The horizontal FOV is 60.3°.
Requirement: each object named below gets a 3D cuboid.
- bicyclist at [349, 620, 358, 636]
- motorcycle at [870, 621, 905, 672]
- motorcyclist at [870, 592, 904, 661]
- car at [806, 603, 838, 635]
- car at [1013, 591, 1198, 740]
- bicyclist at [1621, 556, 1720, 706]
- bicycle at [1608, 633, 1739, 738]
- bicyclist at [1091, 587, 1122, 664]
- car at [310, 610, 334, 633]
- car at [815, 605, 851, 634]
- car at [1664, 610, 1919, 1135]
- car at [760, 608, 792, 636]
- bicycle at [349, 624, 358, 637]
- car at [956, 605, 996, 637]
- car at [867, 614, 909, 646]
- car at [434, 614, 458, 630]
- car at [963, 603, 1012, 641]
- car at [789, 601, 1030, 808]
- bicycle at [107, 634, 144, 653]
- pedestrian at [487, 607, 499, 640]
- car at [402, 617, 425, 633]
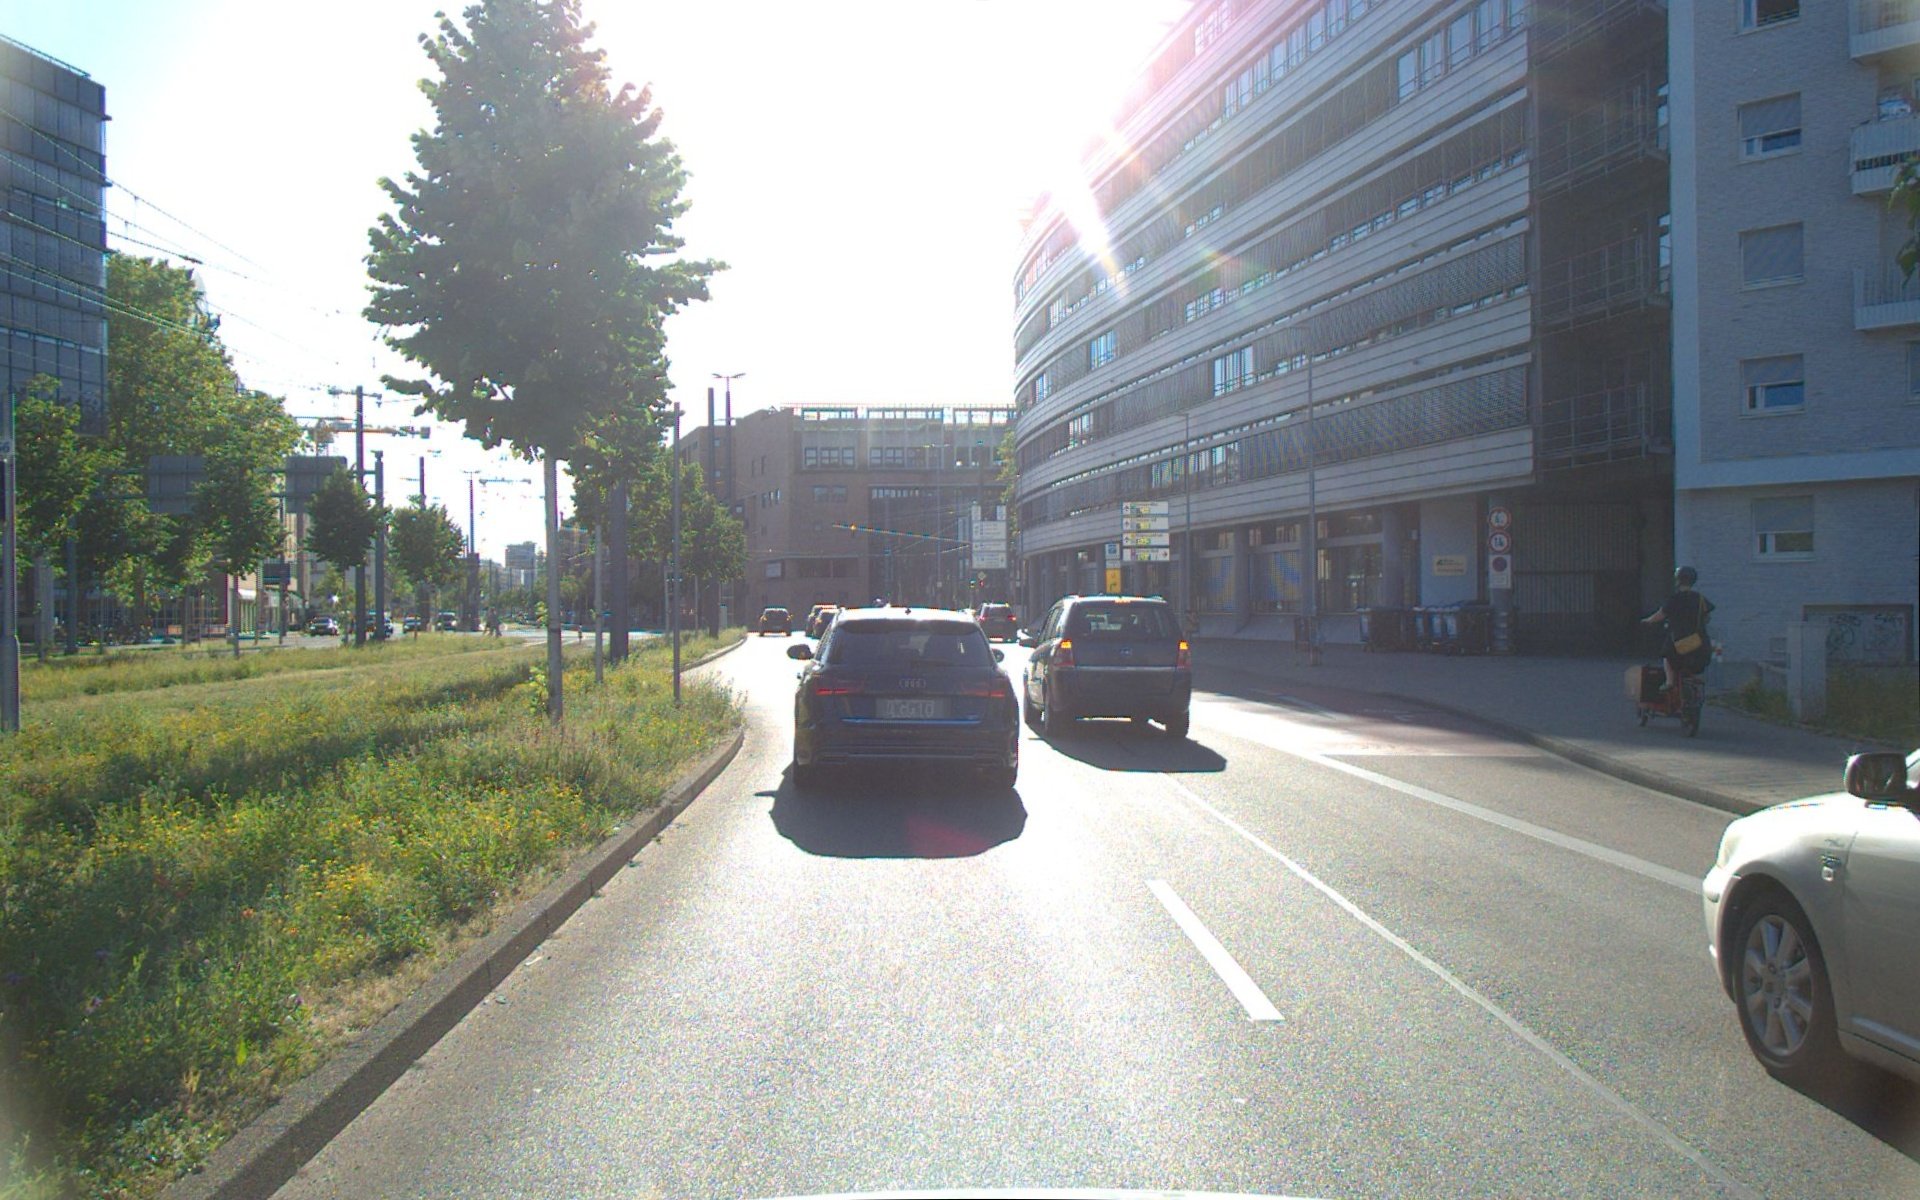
[{"bbox_3d":[-54.669,2.514,149.117,0.746,1.399,0.946,-1,0,-19],"label":"bicyclist"},{"bbox_3d":[-1.704,1.067,38.512,0.760,1.135,1.967,-1,0,-4],"label":"motorcycle"},{"bbox_3d":[-1.677,0.605,37.981,0.730,1.557,1.020,-1,0,-4],"label":"motorcyclist"},{"bbox_3d":[-7.538,1.043,90.069,1.704,1.680,3.995,-1,0,-6],"label":"car"},{"bbox_3d":[1.723,0.753,20.944,1.654,1.657,4.459,-1,0,-4],"label":"car"},{"bbox_3d":[7.787,0.331,18.166,0.612,1.594,1.043,-1,-1,-1],"label":"bicyclist"},{"bbox_3d":[7.826,0.910,18.243,0.488,1.050,2.206,-1,0,0],"label":"bicycle"},{"bbox_3d":[3.511,0.613,39.651,0.566,1.822,0.862,-1,0,-7],"label":"bicyclist"},{"bbox_3d":[-58.718,1.980,152.314,1.964,2.049,3.976,-1,0,-20],"label":"car"},{"bbox_3d":[-6.395,0.956,82.781,1.704,1.373,3.995,-1,0,-6],"label":"car"},{"bbox_3d":[3.537,0.752,4.003,1.715,1.456,4.488,-1,0,0],"label":"car"},{"bbox_3d":[-9.865,1.159,88.806,1.617,1.458,3.995,-1,0,-6],"label":"car"},{"bbox_3d":[-54.743,2.772,149.378,0.640,1.104,2.911,-1,0,-18],"label":"bicycle"},{"bbox_3d":[0.871,1.133,91.083,1.954,1.680,3.998,-1,0,-3],"label":"car"},{"bbox_3d":[-3.501,1.431,79.715,1.772,1.483,3.995,0,0,-6],"label":"car"},{"bbox_3d":[-48.434,2.060,155.924,1.722,1.531,3.851,-1,0,-24],"label":"car"},{"bbox_3d":[1.309,1.051,80.256,1.954,1.780,4.325,-1,0,-4],"label":"car"},{"bbox_3d":[-0.435,0.790,14.581,1.774,1.518,4.494,-1,0,-2],"label":"car"},{"bbox_3d":[-44.907,2.357,89.008,1.750,0.968,0.535,-1,-1,-34],"label":"bicycle"},{"bbox_3d":[-26.706,1.362,94.602,0.620,1.862,0.660,-1,-1,-13],"label":"pedestrian"},{"bbox_3d":[-51.599,2.363,156.148,1.722,1.531,3.851,-1,0,-24],"label":"car"}]
